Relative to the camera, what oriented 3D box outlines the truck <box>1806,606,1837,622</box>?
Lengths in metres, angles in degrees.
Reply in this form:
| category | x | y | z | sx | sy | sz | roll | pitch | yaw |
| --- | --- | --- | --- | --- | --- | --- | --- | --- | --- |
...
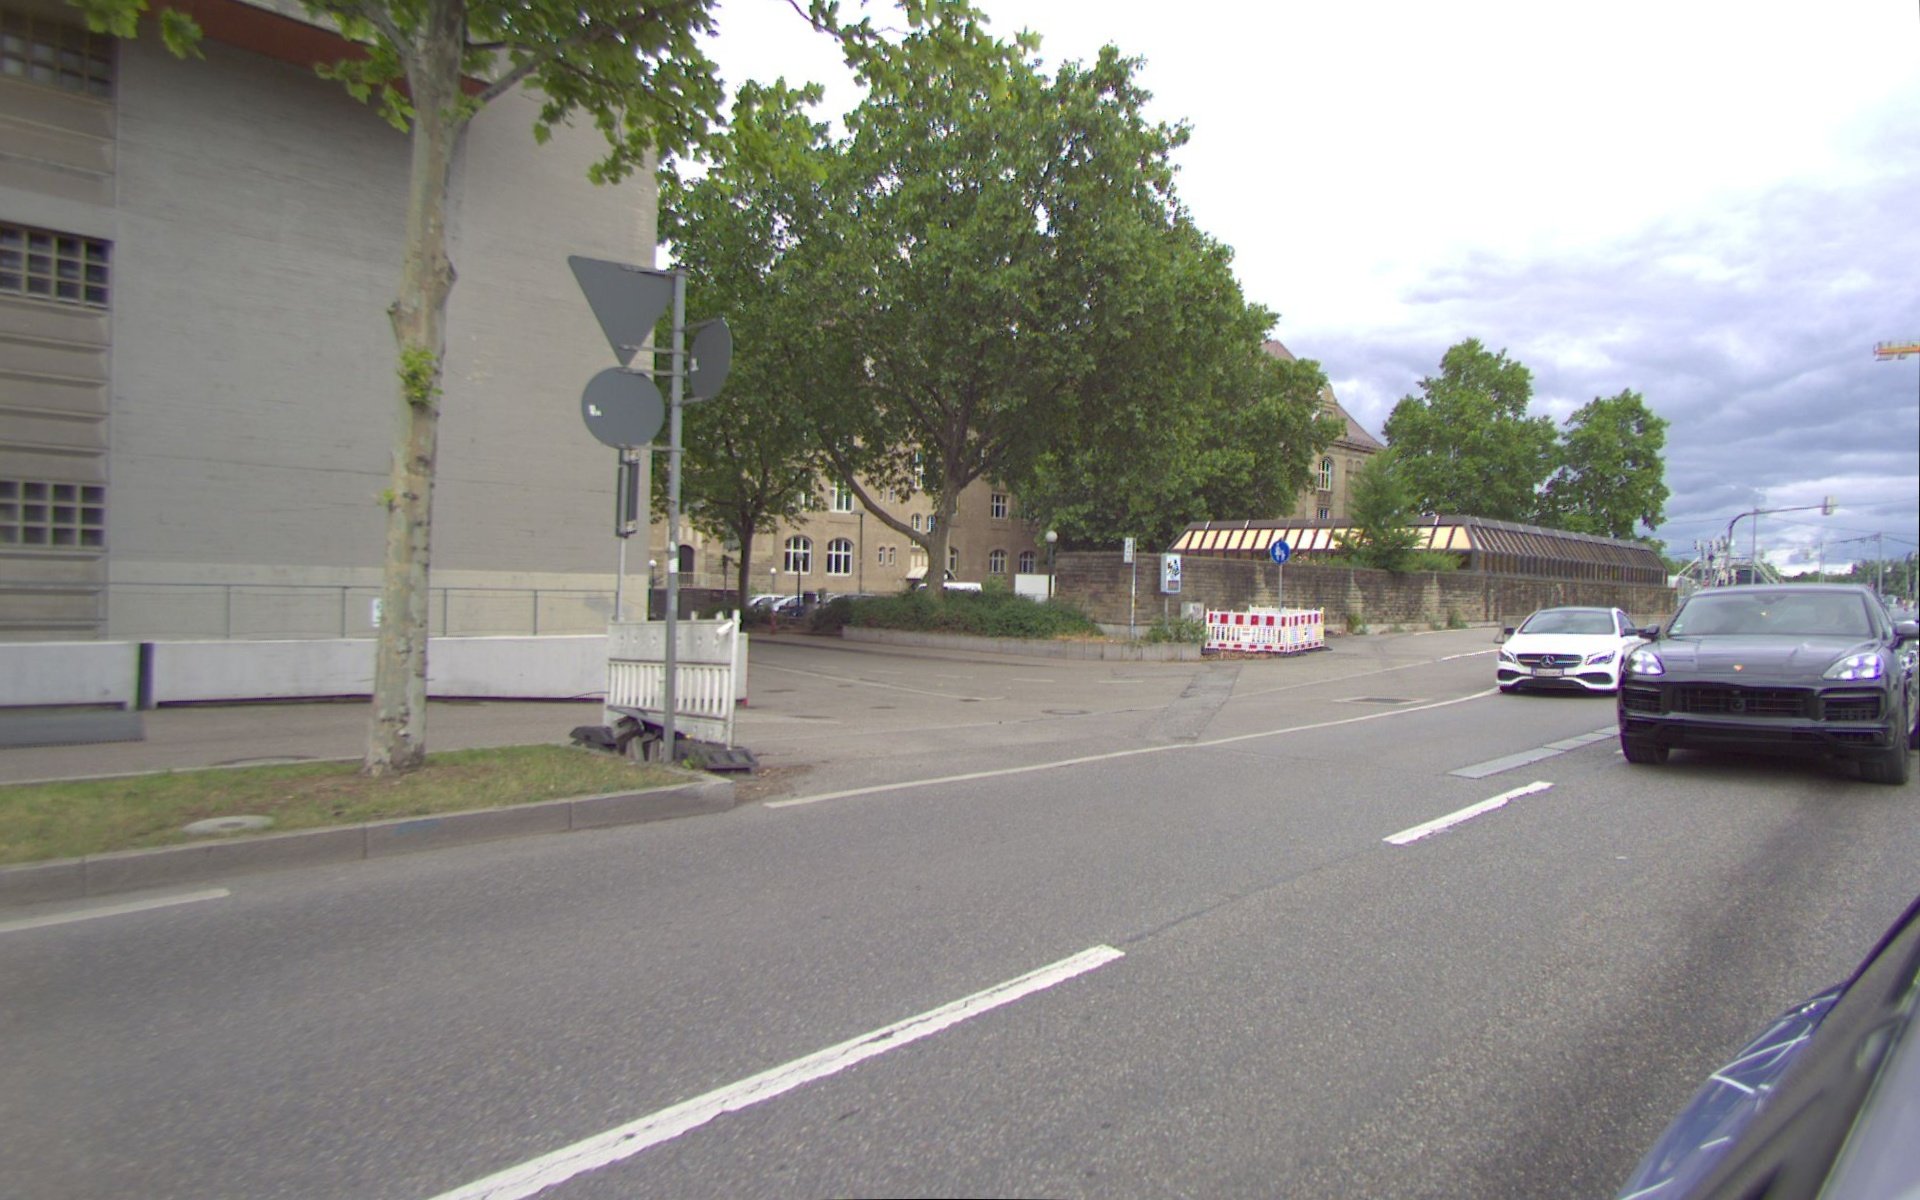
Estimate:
| category | x | y | z | sx | sy | sz | roll | pitch | yaw |
| --- | --- | --- | --- | --- | --- | --- | --- | --- | --- |
| truck | 89.202 | 1.407 | 104.838 | 1.813 | 1.559 | 3.718 | 2 | 0 | 32 |

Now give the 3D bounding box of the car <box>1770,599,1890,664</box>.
| category | x | y | z | sx | sy | sz | roll | pitch | yaw |
| --- | --- | --- | --- | --- | --- | --- | --- | --- | --- |
| car | 23.025 | 0.787 | 26.742 | 4.341 | 1.488 | 1.732 | 1 | 2 | -41 |

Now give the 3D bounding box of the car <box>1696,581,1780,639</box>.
| category | x | y | z | sx | sy | sz | roll | pitch | yaw |
| --- | --- | --- | --- | --- | --- | --- | --- | --- | --- |
| car | 29.491 | 0.359 | 38.331 | 3.612 | 1.961 | 1.935 | 1 | 4 | -44 |

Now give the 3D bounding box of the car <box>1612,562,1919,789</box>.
| category | x | y | z | sx | sy | sz | roll | pitch | yaw |
| --- | --- | --- | --- | --- | --- | --- | --- | --- | --- |
| car | 8.030 | 0.559 | 9.714 | 4.531 | 1.669 | 1.952 | 0 | -1 | -44 |

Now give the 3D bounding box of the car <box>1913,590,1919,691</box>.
| category | x | y | z | sx | sy | sz | roll | pitch | yaw |
| --- | --- | --- | --- | --- | --- | --- | --- | --- | --- |
| car | 17.375 | 0.660 | 16.824 | 3.646 | 1.626 | 1.811 | 1 | -2 | -40 |

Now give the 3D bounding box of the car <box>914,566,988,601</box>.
| category | x | y | z | sx | sy | sz | roll | pitch | yaw |
| --- | --- | --- | --- | --- | --- | --- | --- | --- | --- |
| car | -0.464 | -0.914 | 55.984 | 3.905 | 1.848 | 1.810 | 0 | 2 | -43 |

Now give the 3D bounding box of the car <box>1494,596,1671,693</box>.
| category | x | y | z | sx | sy | sz | roll | pitch | yaw |
| --- | --- | --- | --- | --- | --- | --- | --- | --- | --- |
| car | 10.824 | 0.685 | 17.450 | 1.734 | 1.454 | 4.312 | -2 | -1 | 43 |

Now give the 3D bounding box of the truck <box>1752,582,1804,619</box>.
| category | x | y | z | sx | sy | sz | roll | pitch | yaw |
| --- | --- | --- | --- | --- | --- | --- | --- | --- | --- |
| truck | 87.872 | 0.008 | 108.840 | 2.887 | 3.721 | 8.930 | 2 | 1 | 30 |
